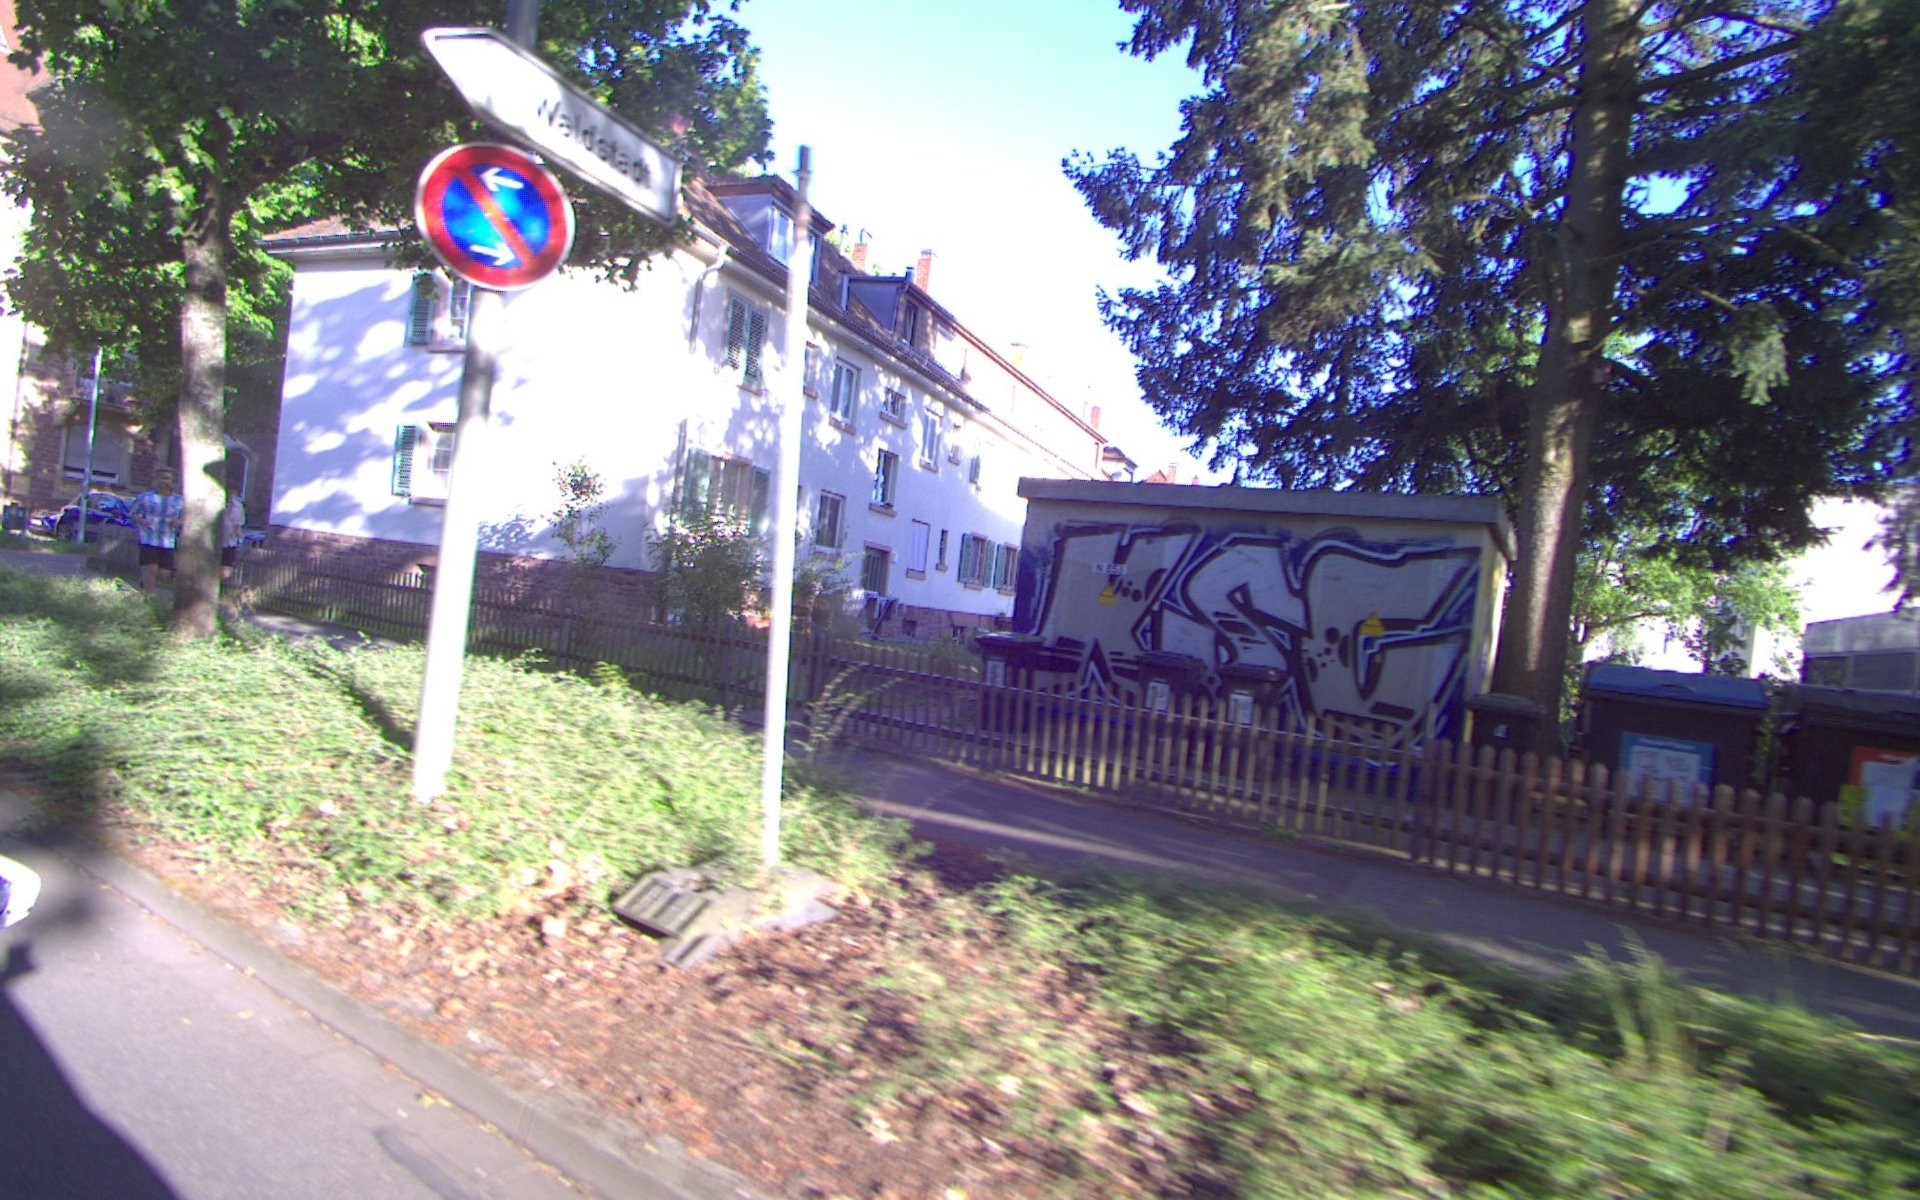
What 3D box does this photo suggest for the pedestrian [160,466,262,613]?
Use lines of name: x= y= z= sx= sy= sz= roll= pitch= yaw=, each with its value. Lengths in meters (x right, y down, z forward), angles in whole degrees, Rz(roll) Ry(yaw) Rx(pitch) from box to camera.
pedestrian: x=-10.446 y=-0.845 z=14.026 sx=1.001 sy=1.916 sz=0.643 roll=7 pitch=-1 yaw=32

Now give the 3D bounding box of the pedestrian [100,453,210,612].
pedestrian: x=-10.409 y=-0.869 z=13.009 sx=0.880 sy=1.916 sz=0.674 roll=7 pitch=-1 yaw=32

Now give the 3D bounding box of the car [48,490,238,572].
car: x=-20.684 y=-1.736 z=25.493 sx=3.927 sy=1.574 sz=2.001 roll=5 pitch=-2 yaw=22

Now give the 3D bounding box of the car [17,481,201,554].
car: x=-28.248 y=-2.691 z=33.571 sx=1.703 sy=1.641 sz=4.260 roll=8 pitch=-1 yaw=22

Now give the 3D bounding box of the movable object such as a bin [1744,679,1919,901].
movable object such as a bin: x=7.004 y=1.426 z=7.673 sx=1.343 sy=1.445 sz=1.079 roll=7 pitch=2 yaw=30

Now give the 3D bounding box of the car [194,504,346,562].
car: x=-26.161 y=-2.494 z=38.325 sx=1.703 sy=1.517 sz=4.454 roll=8 pitch=0 yaw=22

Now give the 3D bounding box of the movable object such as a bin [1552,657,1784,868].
movable object such as a bin: x=5.851 y=1.283 z=8.453 sx=1.364 sy=1.449 sz=1.079 roll=7 pitch=2 yaw=30

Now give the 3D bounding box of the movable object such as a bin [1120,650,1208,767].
movable object such as a bin: x=2.010 y=1.042 z=9.891 sx=0.585 sy=1.043 sz=0.614 roll=7 pitch=2 yaw=30

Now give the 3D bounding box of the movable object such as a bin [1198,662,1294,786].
movable object such as a bin: x=2.698 y=1.142 z=9.476 sx=0.630 sy=1.043 sz=0.606 roll=7 pitch=2 yaw=30

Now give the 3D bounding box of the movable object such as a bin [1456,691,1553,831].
movable object such as a bin: x=4.616 y=1.341 z=8.529 sx=0.604 sy=1.043 sz=0.538 roll=7 pitch=2 yaw=30

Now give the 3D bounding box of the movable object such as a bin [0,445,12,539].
movable object such as a bin: x=-12.907 y=-1.110 z=11.965 sx=1.370 sy=1.875 sz=1.924 roll=7 pitch=-1 yaw=31

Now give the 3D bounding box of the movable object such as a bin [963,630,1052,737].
movable object such as a bin: x=0.516 y=0.884 z=10.814 sx=0.634 sy=1.043 sz=0.643 roll=7 pitch=2 yaw=30
